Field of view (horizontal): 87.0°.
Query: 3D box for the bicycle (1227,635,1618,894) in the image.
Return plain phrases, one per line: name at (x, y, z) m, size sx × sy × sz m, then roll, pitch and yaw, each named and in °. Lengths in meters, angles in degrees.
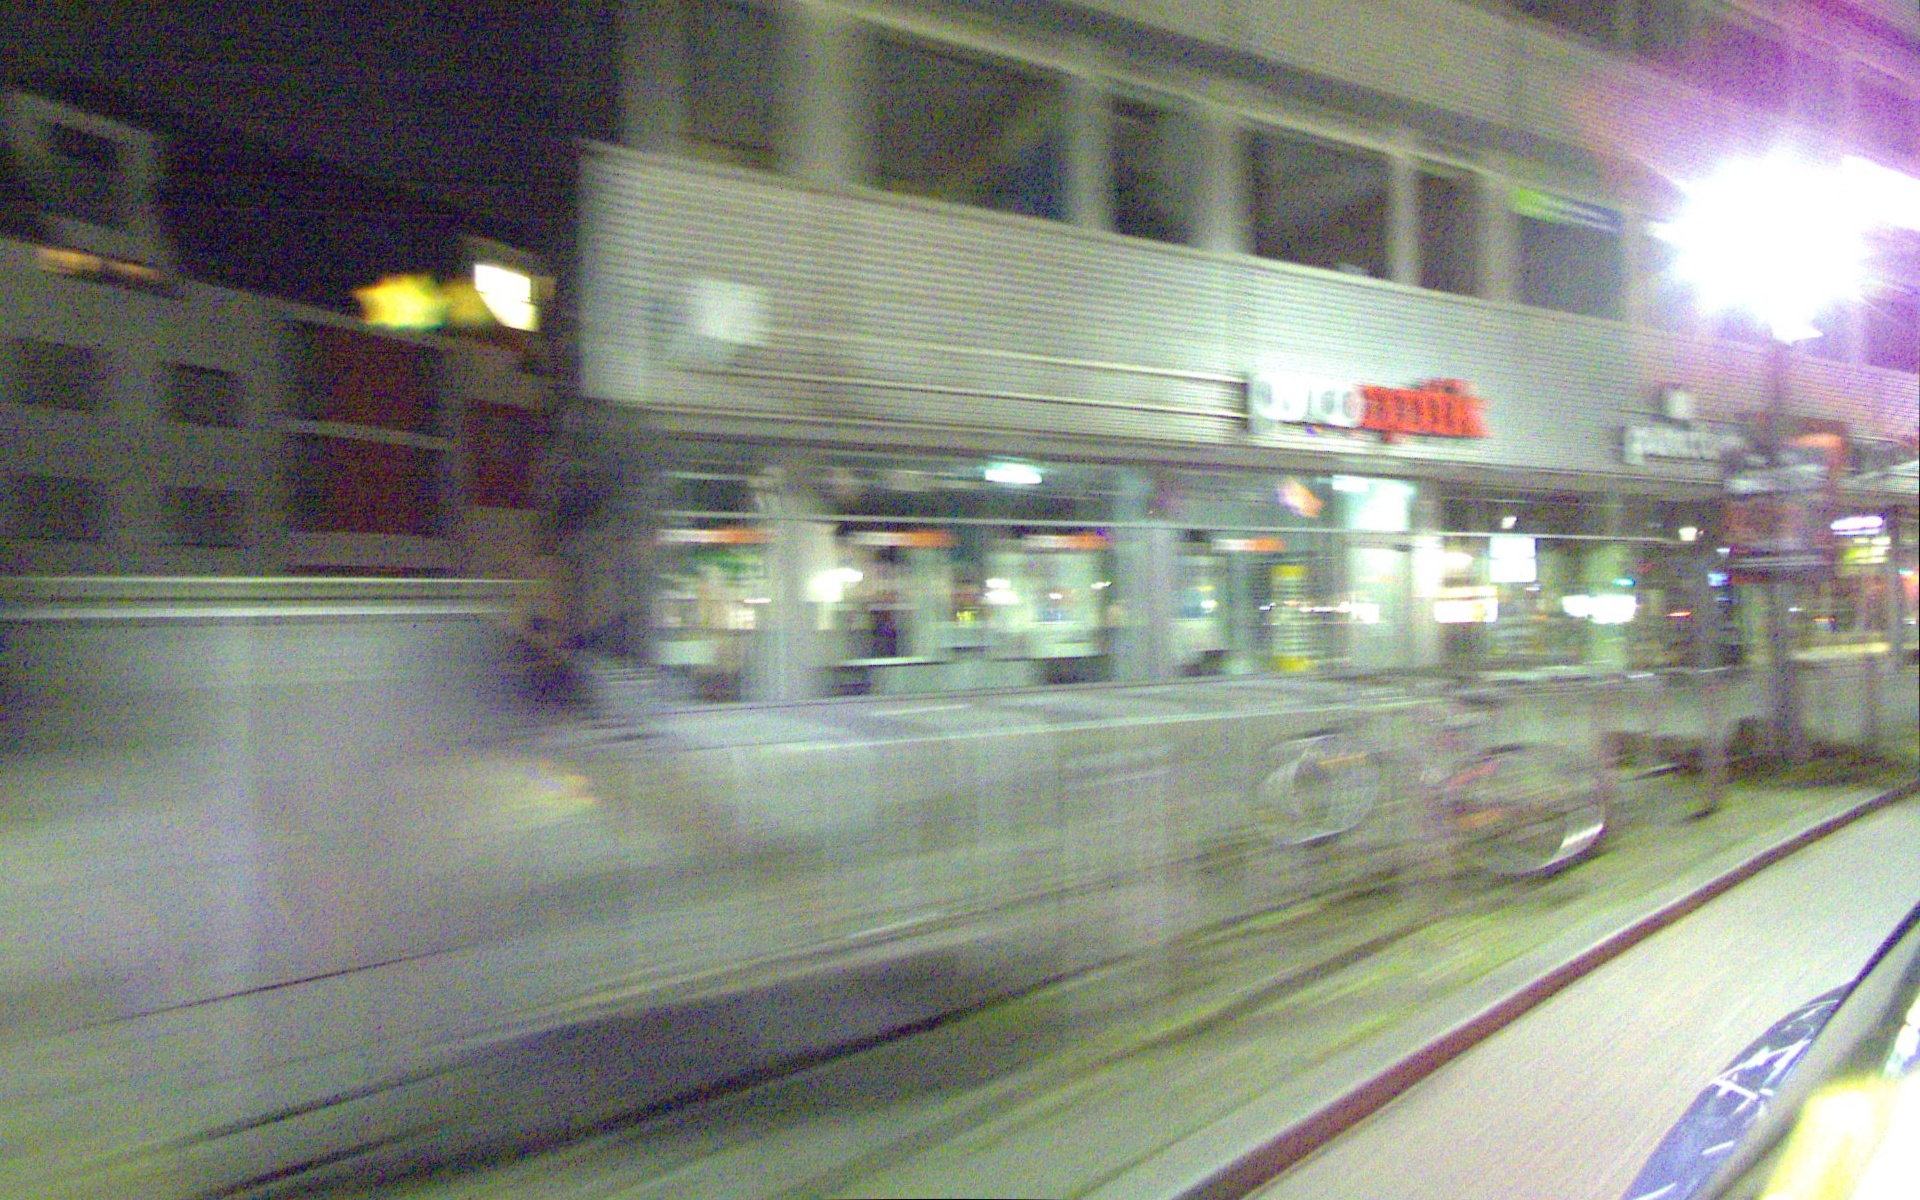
bicycle at (2.349, 0.750, 5.279) m, size 1.748 × 1.076 × 0.646 m, roll 0°, pitch -1°, yaw 42°
